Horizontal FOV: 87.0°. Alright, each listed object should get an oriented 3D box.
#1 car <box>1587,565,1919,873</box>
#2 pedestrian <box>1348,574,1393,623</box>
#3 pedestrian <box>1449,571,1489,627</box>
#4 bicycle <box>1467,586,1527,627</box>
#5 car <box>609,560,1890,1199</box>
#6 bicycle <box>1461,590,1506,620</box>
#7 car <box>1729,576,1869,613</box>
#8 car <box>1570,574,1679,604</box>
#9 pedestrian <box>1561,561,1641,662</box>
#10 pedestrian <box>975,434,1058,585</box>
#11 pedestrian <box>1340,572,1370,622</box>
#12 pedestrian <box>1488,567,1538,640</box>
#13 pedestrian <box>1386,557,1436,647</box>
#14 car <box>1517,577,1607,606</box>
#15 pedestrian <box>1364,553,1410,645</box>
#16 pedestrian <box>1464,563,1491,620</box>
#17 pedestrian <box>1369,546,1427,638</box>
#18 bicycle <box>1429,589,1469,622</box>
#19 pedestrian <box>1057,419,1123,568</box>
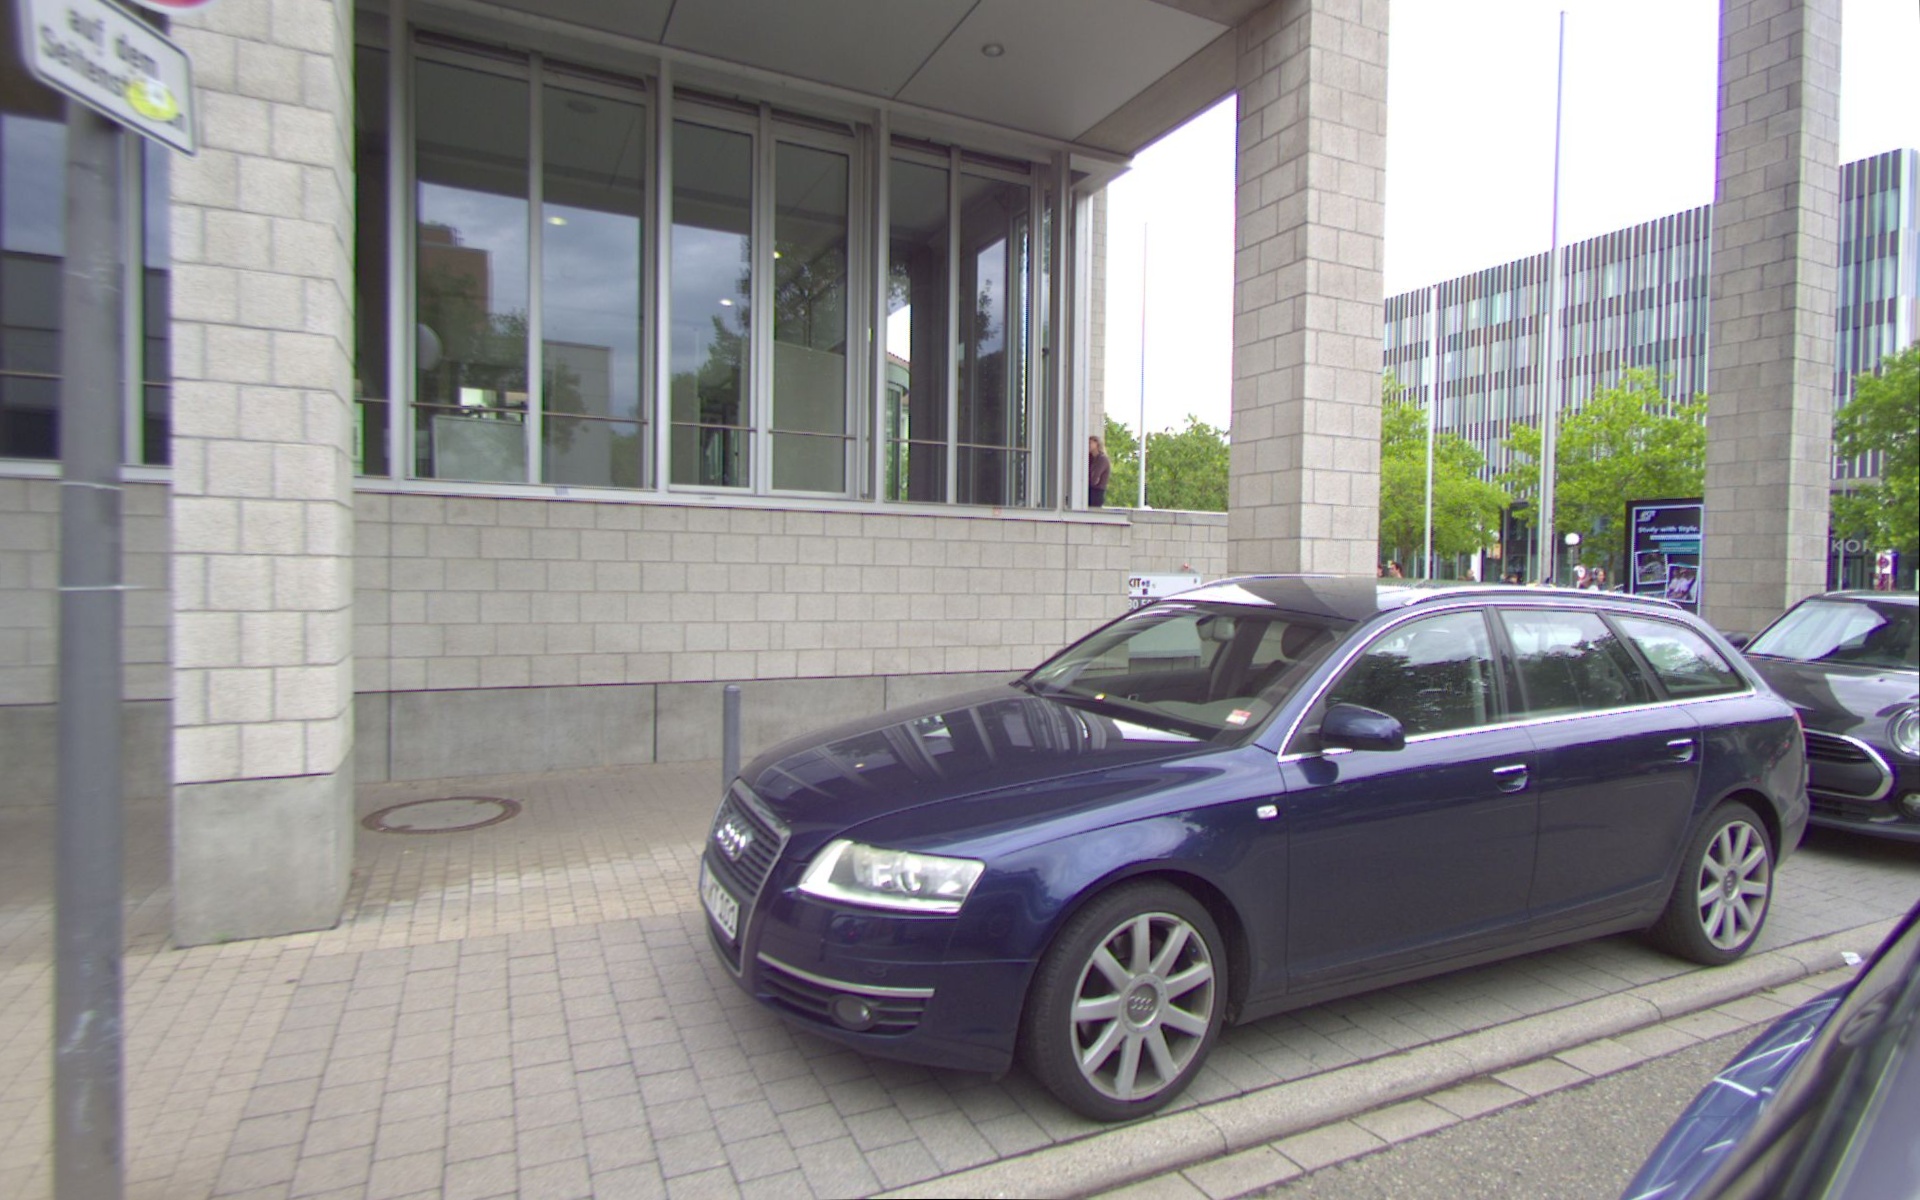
[{"bbox_3d":[6.376,0.565,6.580,4.428,1.460,1.827,0,3,-27],"label":"car"},{"bbox_3d":[12.313,-0.052,30.370,0.951,1.438,0.852,-1,2,-37],"label":"pedestrian"},{"bbox_3d":[16.232,-0.052,32.252,0.850,1.725,0.954,3,3,44],"label":"pedestrian"},{"bbox_3d":[16.653,0.213,31.360,2.365,1.185,0.457,3,-1,-30],"label":"bicycle"},{"bbox_3d":[1.246,0.599,4.058,4.821,1.470,2.004,0,2,-26],"label":"car"},{"bbox_3d":[18.976,0.182,36.680,1.897,1.062,0.458,0,2,-30],"label":"bicycle"},{"bbox_3d":[40.825,-0.296,49.378,1.959,1.683,4.847,0,1,-28],"label":"car"},{"bbox_3d":[41.353,-0.700,63.109,2.005,1.719,5.382,3,0,-27],"label":"car"},{"bbox_3d":[11.016,0.199,17.403,0.912,1.662,0.738,3,-1,-25],"label":"pedestrian"},{"bbox_3d":[0.650,-1.032,11.892,0.790,1.680,0.632,2,-1,-9],"label":"pedestrian"},{"bbox_3d":[11.585,-0.093,29.674,0.668,1.430,0.761,1,2,33],"label":"pedestrian"},{"bbox_3d":[13.153,0.077,24.079,0.690,1.690,0.759,0,1,-24],"label":"pedestrian"},{"bbox_3d":[9.037,0.029,20.322,0.638,1.733,0.779,4,2,11],"label":"pedestrian"},{"bbox_3d":[35.572,-0.526,59.915,1.959,1.638,4.201,0,2,-27],"label":"car"},{"bbox_3d":[8.816,-0.026,20.901,0.607,1.863,0.594,0,2,-25],"label":"pedestrian"},{"bbox_3d":[17.032,-0.276,33.335,0.663,1.856,0.509,1,1,15],"label":"pedestrian"},{"bbox_3d":[8.672,-0.148,20.056,0.681,1.735,0.909,4,-3,0],"label":"pedestrian"},{"bbox_3d":[16.687,0.183,34.518,1.901,1.062,0.457,0,2,-40],"label":"bicycle"},{"bbox_3d":[1.542,-1.244,12.103,0.619,1.680,0.807,2,-1,-1],"label":"pedestrian"}]
